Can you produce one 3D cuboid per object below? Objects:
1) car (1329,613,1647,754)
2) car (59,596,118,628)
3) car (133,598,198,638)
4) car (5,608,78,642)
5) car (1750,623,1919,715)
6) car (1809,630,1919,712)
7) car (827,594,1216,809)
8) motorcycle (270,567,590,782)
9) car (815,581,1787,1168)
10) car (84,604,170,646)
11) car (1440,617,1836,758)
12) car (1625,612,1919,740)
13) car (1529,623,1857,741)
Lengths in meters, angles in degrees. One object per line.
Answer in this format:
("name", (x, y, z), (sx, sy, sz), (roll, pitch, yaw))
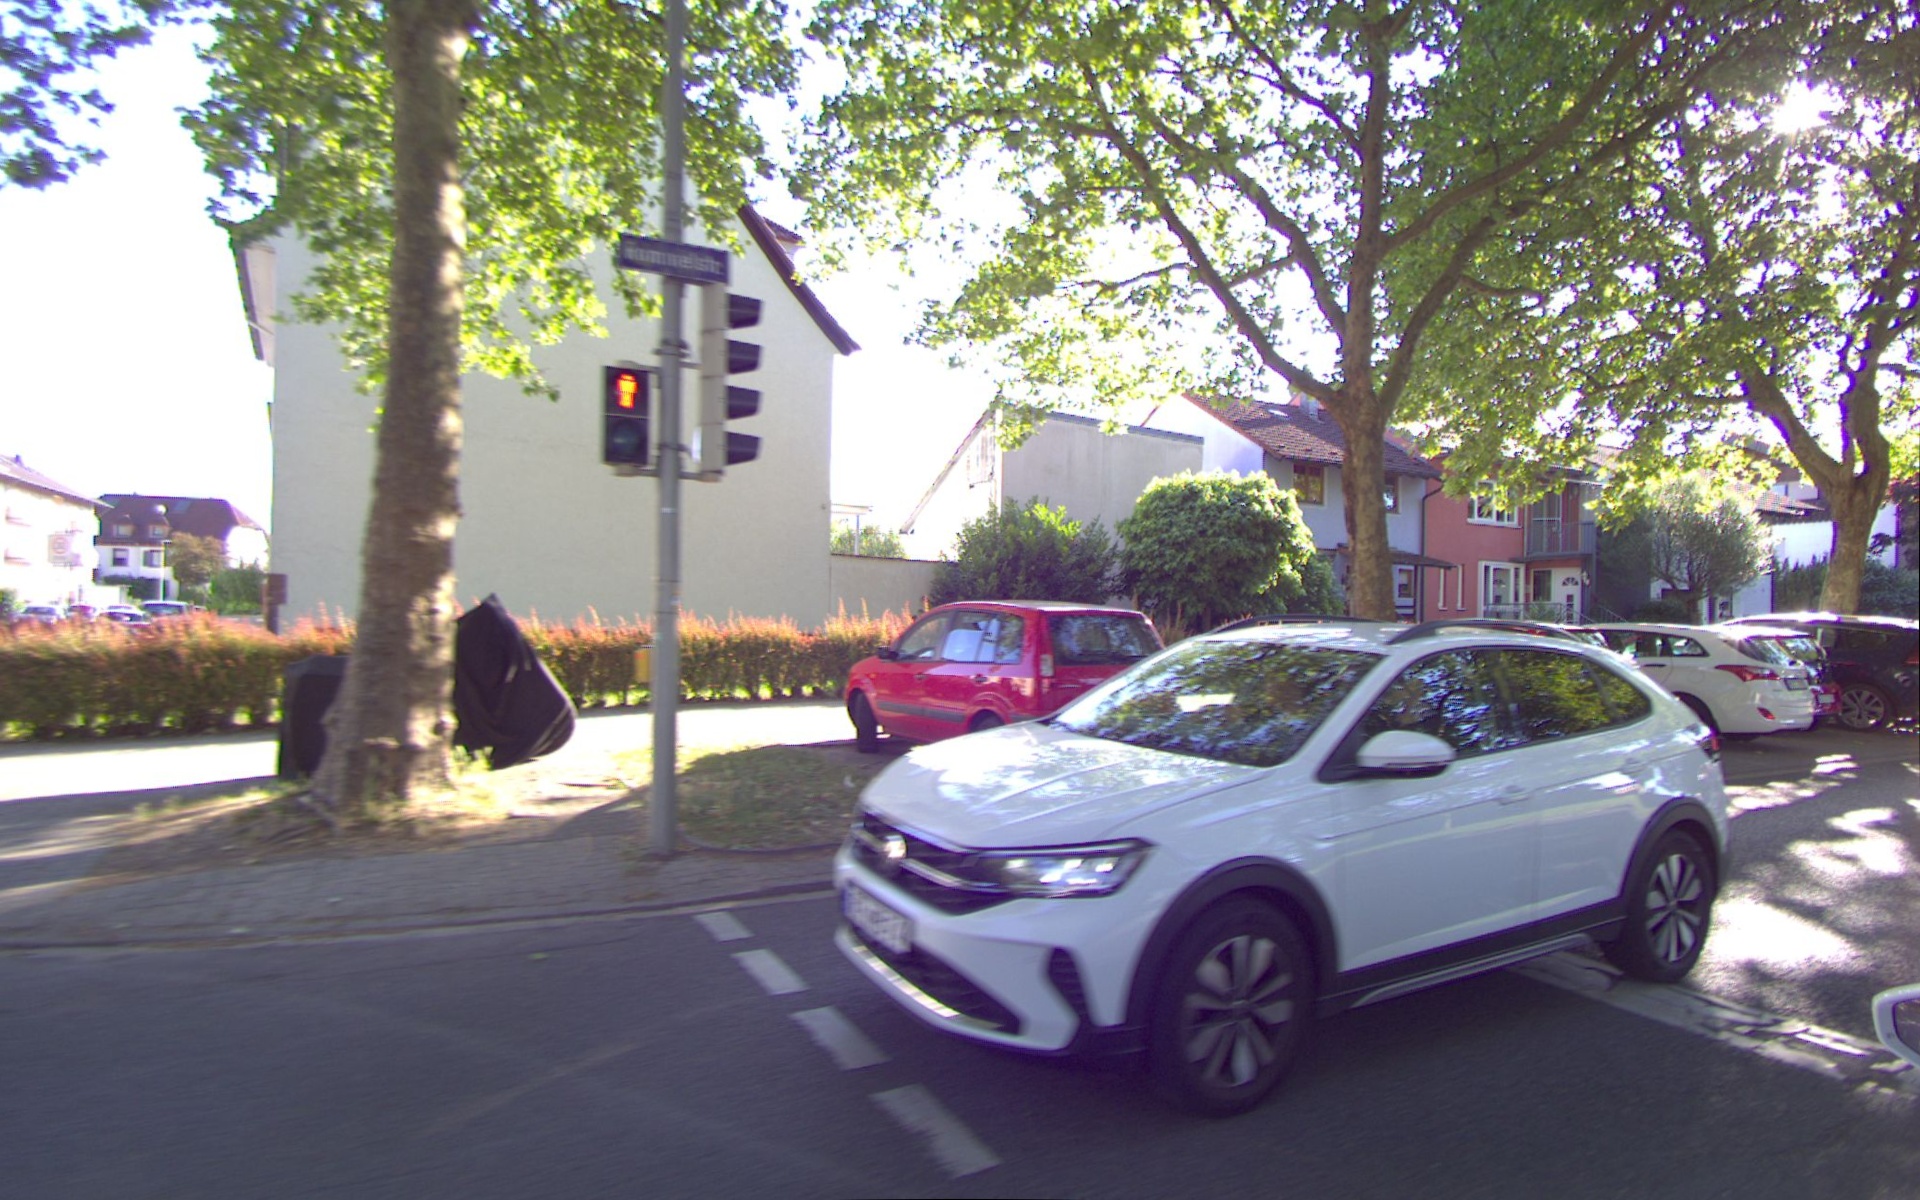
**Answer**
("car", (6.816, 0.991, 13.263), (1.676, 1.499, 3.323), (2, 0, -30))
("car", (-50.474, 0.688, 58.226), (1.978, 1.792, 3.964), (2, -1, -33))
("car", (-37.494, 0.856, 47.497), (1.978, 1.792, 3.964), (2, -1, -33))
("car", (-47.030, 1.261, 51.513), (1.977, 1.692, 3.967), (2, -1, -31))
("car", (17.485, 1.287, 19.101), (1.708, 1.537, 3.491), (2, 0, -33))
("car", (19.615, 1.442, 20.089), (1.760, 1.537, 3.626), (2, 0, -28))
("car", (0.360, 0.758, 9.413), (1.811, 1.555, 3.745), (2, 0, -31))
("motorcycle", (-4.613, 0.574, 8.839), (2.368, 1.660, 0.972), (0, 0, -37))
("car", (1.593, 0.770, 4.350), (4.044, 1.521, 1.709), (2, -1, -29))
("car", (-31.379, 0.934, 37.934), (1.978, 1.506, 3.964), (2, -1, -33))
("car", (9.116, 1.073, 13.882), (1.854, 1.521, 4.140), (2, 0, -31))
("car", (13.362, 1.116, 16.145), (1.809, 1.739, 4.073), (2, -1, -29))
("car", (11.190, 1.167, 15.598), (1.733, 1.503, 3.742), (2, -1, -29))
